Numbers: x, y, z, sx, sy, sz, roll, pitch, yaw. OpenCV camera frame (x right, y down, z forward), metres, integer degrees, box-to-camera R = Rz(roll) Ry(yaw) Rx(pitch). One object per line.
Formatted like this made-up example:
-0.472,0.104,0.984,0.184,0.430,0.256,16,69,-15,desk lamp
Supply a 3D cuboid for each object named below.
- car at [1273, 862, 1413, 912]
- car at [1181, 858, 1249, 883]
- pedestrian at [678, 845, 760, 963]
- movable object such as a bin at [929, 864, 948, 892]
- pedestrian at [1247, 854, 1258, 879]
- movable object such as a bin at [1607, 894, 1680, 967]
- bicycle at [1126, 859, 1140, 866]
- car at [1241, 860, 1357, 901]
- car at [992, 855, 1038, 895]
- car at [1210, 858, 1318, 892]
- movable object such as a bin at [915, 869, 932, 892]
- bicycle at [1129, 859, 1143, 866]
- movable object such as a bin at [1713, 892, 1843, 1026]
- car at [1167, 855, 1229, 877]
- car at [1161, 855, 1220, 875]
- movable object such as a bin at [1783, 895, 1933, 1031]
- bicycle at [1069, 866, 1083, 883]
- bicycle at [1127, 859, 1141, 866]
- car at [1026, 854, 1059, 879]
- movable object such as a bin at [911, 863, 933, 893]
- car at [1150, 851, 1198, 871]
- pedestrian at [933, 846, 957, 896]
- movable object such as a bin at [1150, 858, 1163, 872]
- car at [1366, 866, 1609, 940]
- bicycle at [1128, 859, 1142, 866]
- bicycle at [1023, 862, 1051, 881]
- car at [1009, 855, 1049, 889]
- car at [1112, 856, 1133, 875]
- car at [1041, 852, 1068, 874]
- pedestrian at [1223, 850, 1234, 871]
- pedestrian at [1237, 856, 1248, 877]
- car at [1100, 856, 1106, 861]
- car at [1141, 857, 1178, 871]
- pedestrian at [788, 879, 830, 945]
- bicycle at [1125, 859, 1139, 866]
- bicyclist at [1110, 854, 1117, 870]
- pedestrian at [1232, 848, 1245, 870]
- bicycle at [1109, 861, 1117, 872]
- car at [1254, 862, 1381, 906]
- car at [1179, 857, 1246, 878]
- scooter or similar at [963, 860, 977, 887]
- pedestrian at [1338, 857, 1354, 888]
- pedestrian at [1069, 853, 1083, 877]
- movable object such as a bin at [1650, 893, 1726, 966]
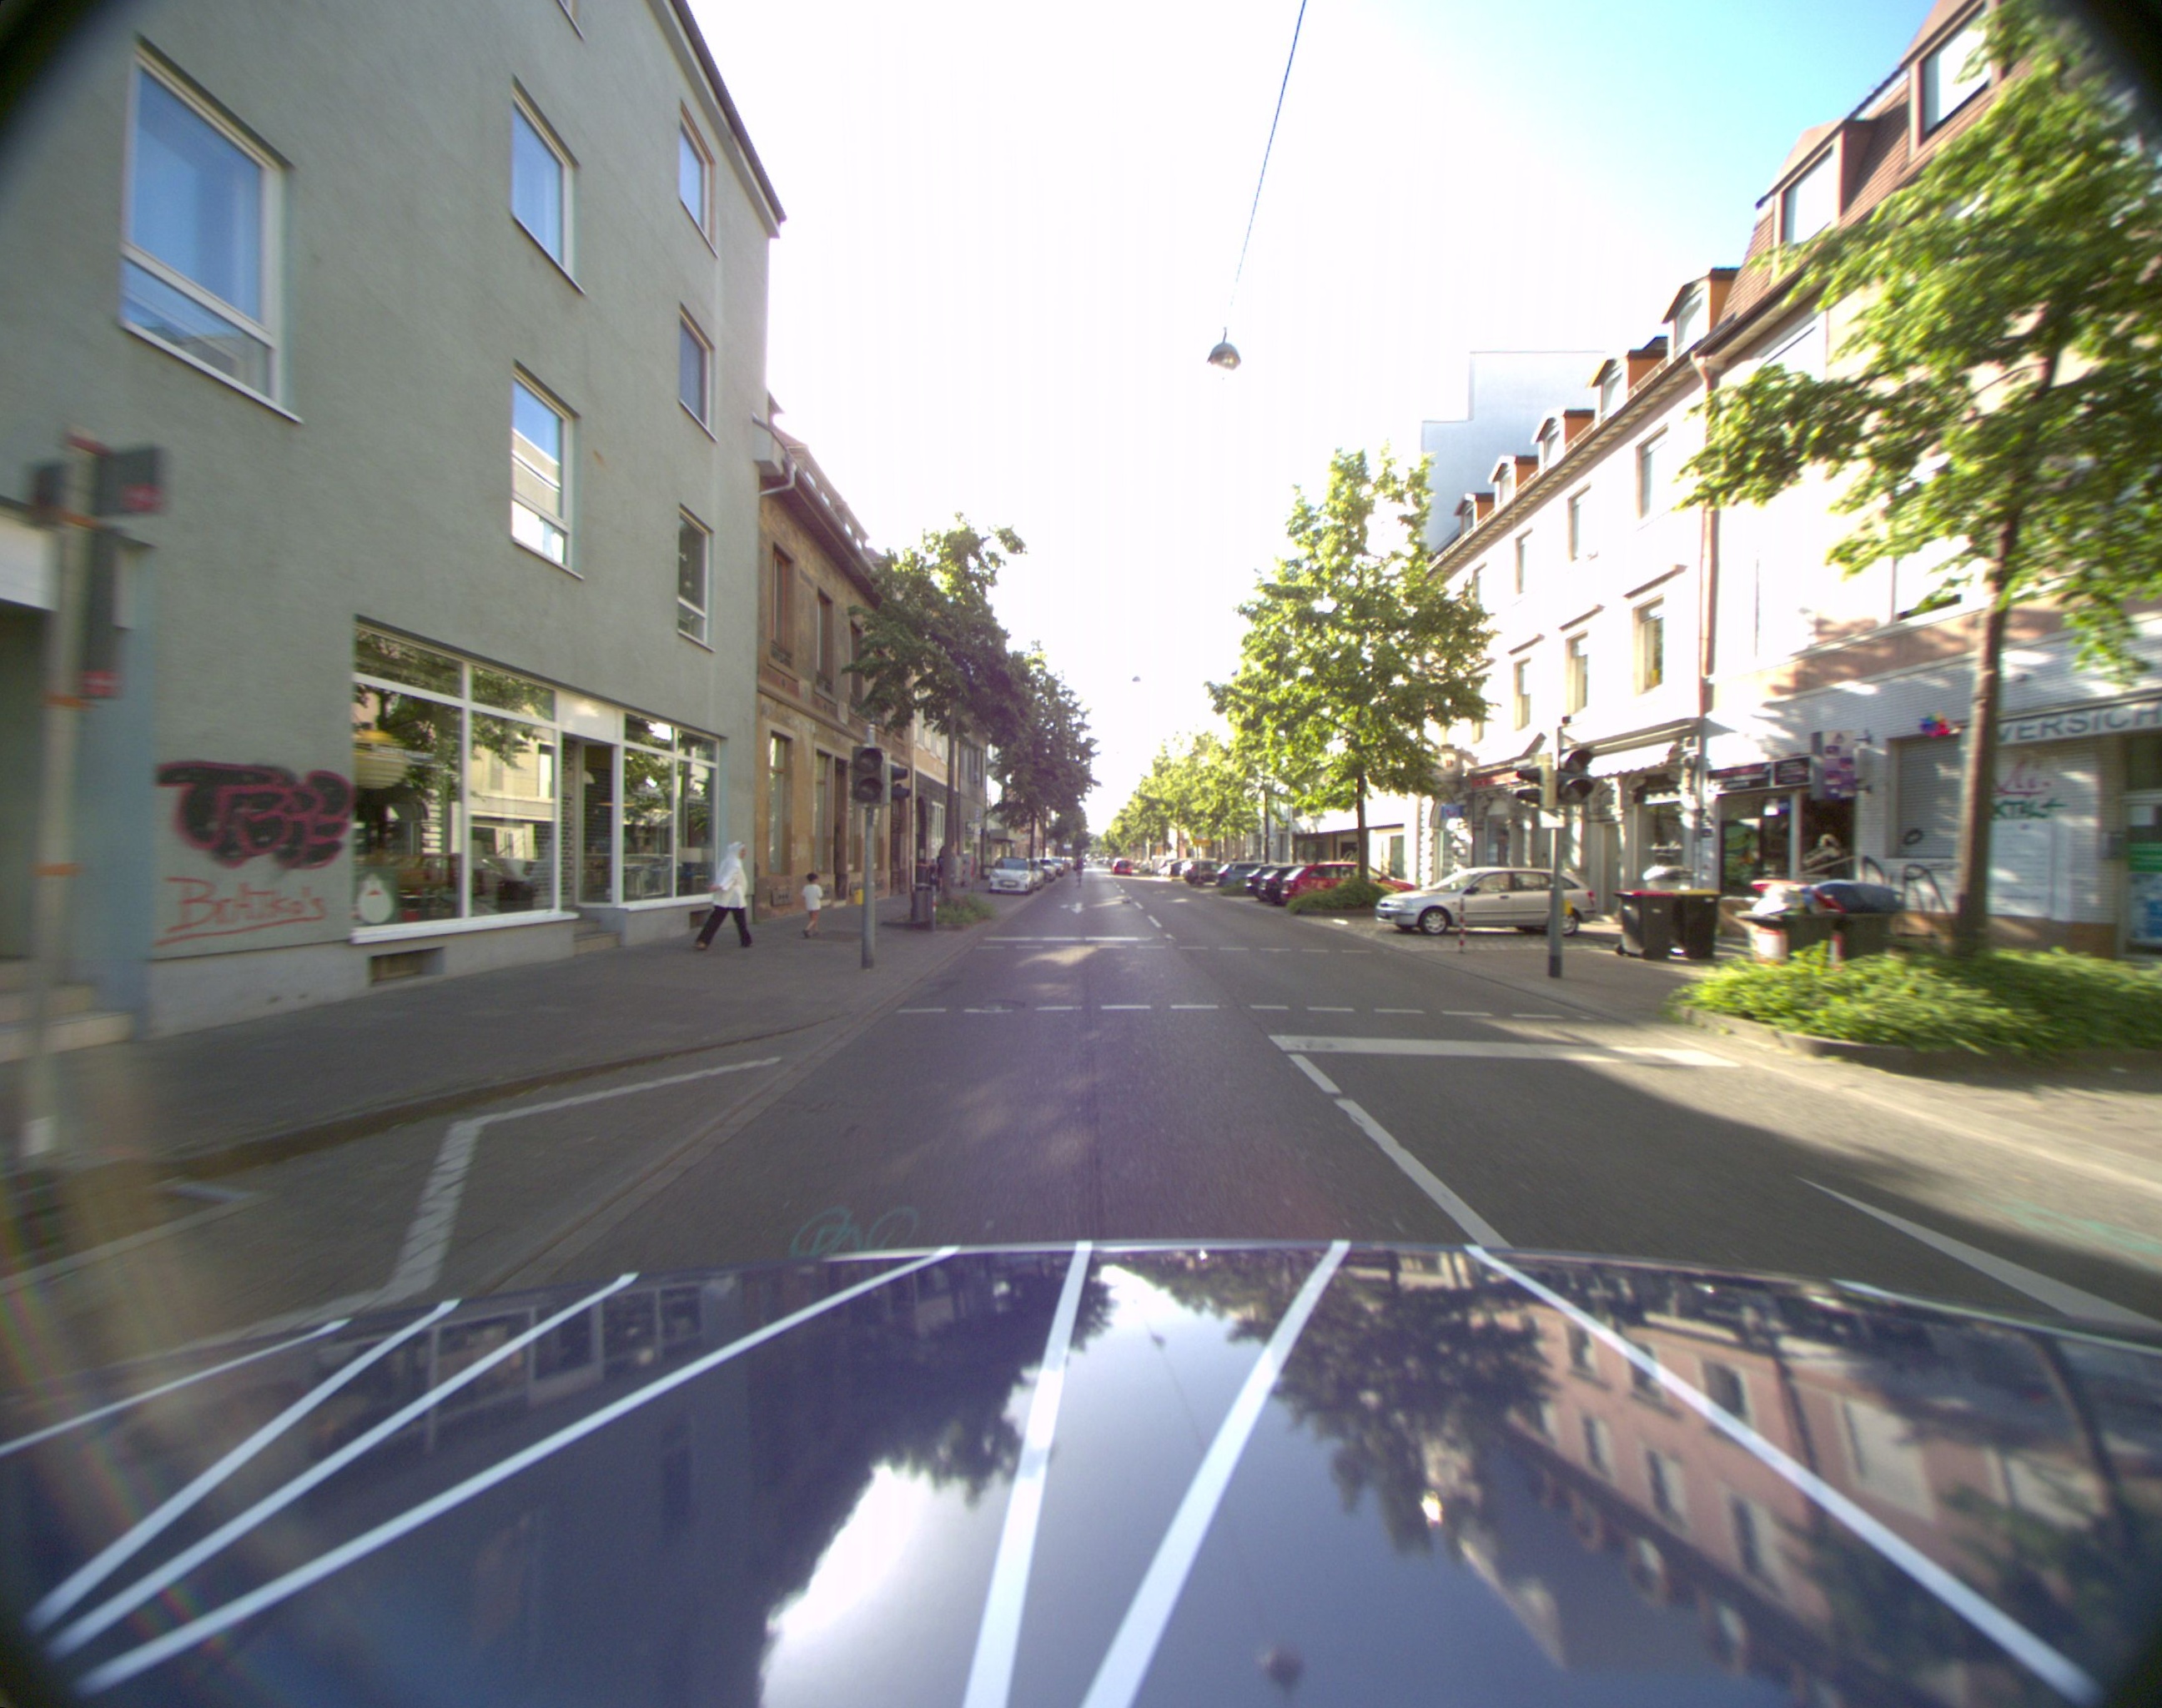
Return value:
8.029,0.999,23.545,3.757,1.459,1.739,0,0,0,car
8.079,0.994,46.021,3.790,1.450,1.780,0,0,-2,car
-5.057,0.671,10.660,0.582,1.550,1.020,4,1,0,pedestrian
-5.539,0.919,29.602,0.523,1.034,0.722,3,0,2,movable object such as a bin
12.355,0.889,54.716,0.700,1.787,0.746,0,0,12,pedestrian
8.803,1.184,11.920,0.532,1.063,0.805,1,0,0,movable object such as a bin
7.747,1.289,113.286,2.006,1.023,0.473,-1,1,-12,bicycle
8.144,0.986,28.635,3.928,1.477,1.771,0,0,2,car
-2.762,0.847,32.310,1.618,1.520,3.060,2,0,0,car
8.399,0.935,35.139,4.505,1.450,1.790,-1,0,-2,car
-6.115,1.036,29.531,0.512,0.855,0.479,1,0,2,movable object such as a bin
8.046,1.286,111.879,2.006,1.023,0.473,-1,1,-12,bicycle
7.486,1.096,8.198,0.636,1.333,0.805,1,0,0,movable object such as a bin
8.804,0.899,57.327,4.377,1.561,1.980,0,0,1,car
8.591,0.855,60.017,4.377,1.561,1.946,0,0,1,car
8.332,1.138,8.183,0.756,1.333,0.805,1,0,0,movable object such as a bin
-0.269,1.204,45.222,0.805,0.958,1.996,-1,-1,0,bicycle
7.841,1.284,112.862,2.006,1.023,0.473,-1,1,-12,bicycle
-2.475,0.803,50.275,1.887,1.518,4.234,3,0,0,car
-5.879,0.881,28.053,0.590,1.034,0.722,3,0,2,movable object such as a bin
8.436,0.640,68.888,4.115,1.825,2.039,0,0,1,car
-4.951,0.600,27.635,0.624,1.755,0.771,3,1,2,pedestrian
7.513,1.100,75.553,1.240,1.295,0.870,1,0,0,movable object such as a bin
8.489,0.997,16.156,4.212,1.459,1.740,0,0,3,car
7.949,1.280,112.363,2.006,1.023,0.473,-1,1,-12,bicycle
-2.722,1.079,46.947,1.626,1.007,0.611,5,0,-1,bicycle
-2.568,0.843,38.342,1.618,1.520,4.234,4,0,0,car
3.694,1.015,68.294,1.662,1.526,3.760,2,0,1,car
-2.173,0.717,63.949,1.998,1.680,4.516,4,0,0,car
11.795,0.496,60.821,0.566,1.617,0.727,-4,1,-1,pedestrian
11.751,0.914,55.343,0.594,1.485,0.842,-2,0,2,pedestrian
6.533,1.204,224.894,1.835,1.410,3.833,1,0,1,car
8.456,1.103,81.812,3.788,1.455,1.710,0,0,-2,car
-4.583,0.962,12.818,0.394,1.027,0.739,4,1,0,pedestrian
7.636,1.289,113.756,2.006,1.023,0.473,-1,1,-12,bicycle
3.423,0.887,80.867,0.727,1.690,1.282,1,0,1,bicyclist
12.625,0.396,60.826,0.776,1.756,0.763,-4,1,-1,pedestrian
3.425,1.286,81.035,0.727,1.162,2.197,1,0,1,bicycle
8.057,1.008,26.132,3.850,1.420,1.790,0,0,2,car
9.090,0.919,52.859,4.257,1.450,1.980,0,0,-3,car
-5.135,0.887,35.108,0.400,1.180,1.168,3,0,2,scooter or similar
12.052,0.828,34.568,0.509,1.400,0.825,-1,0,5,pedestrian
-0.281,0.666,45.210,0.804,1.381,0.931,-1,0,0,pedestrian
9.522,1.171,11.950,0.532,1.063,0.805,1,0,0,movable object such as a bin
